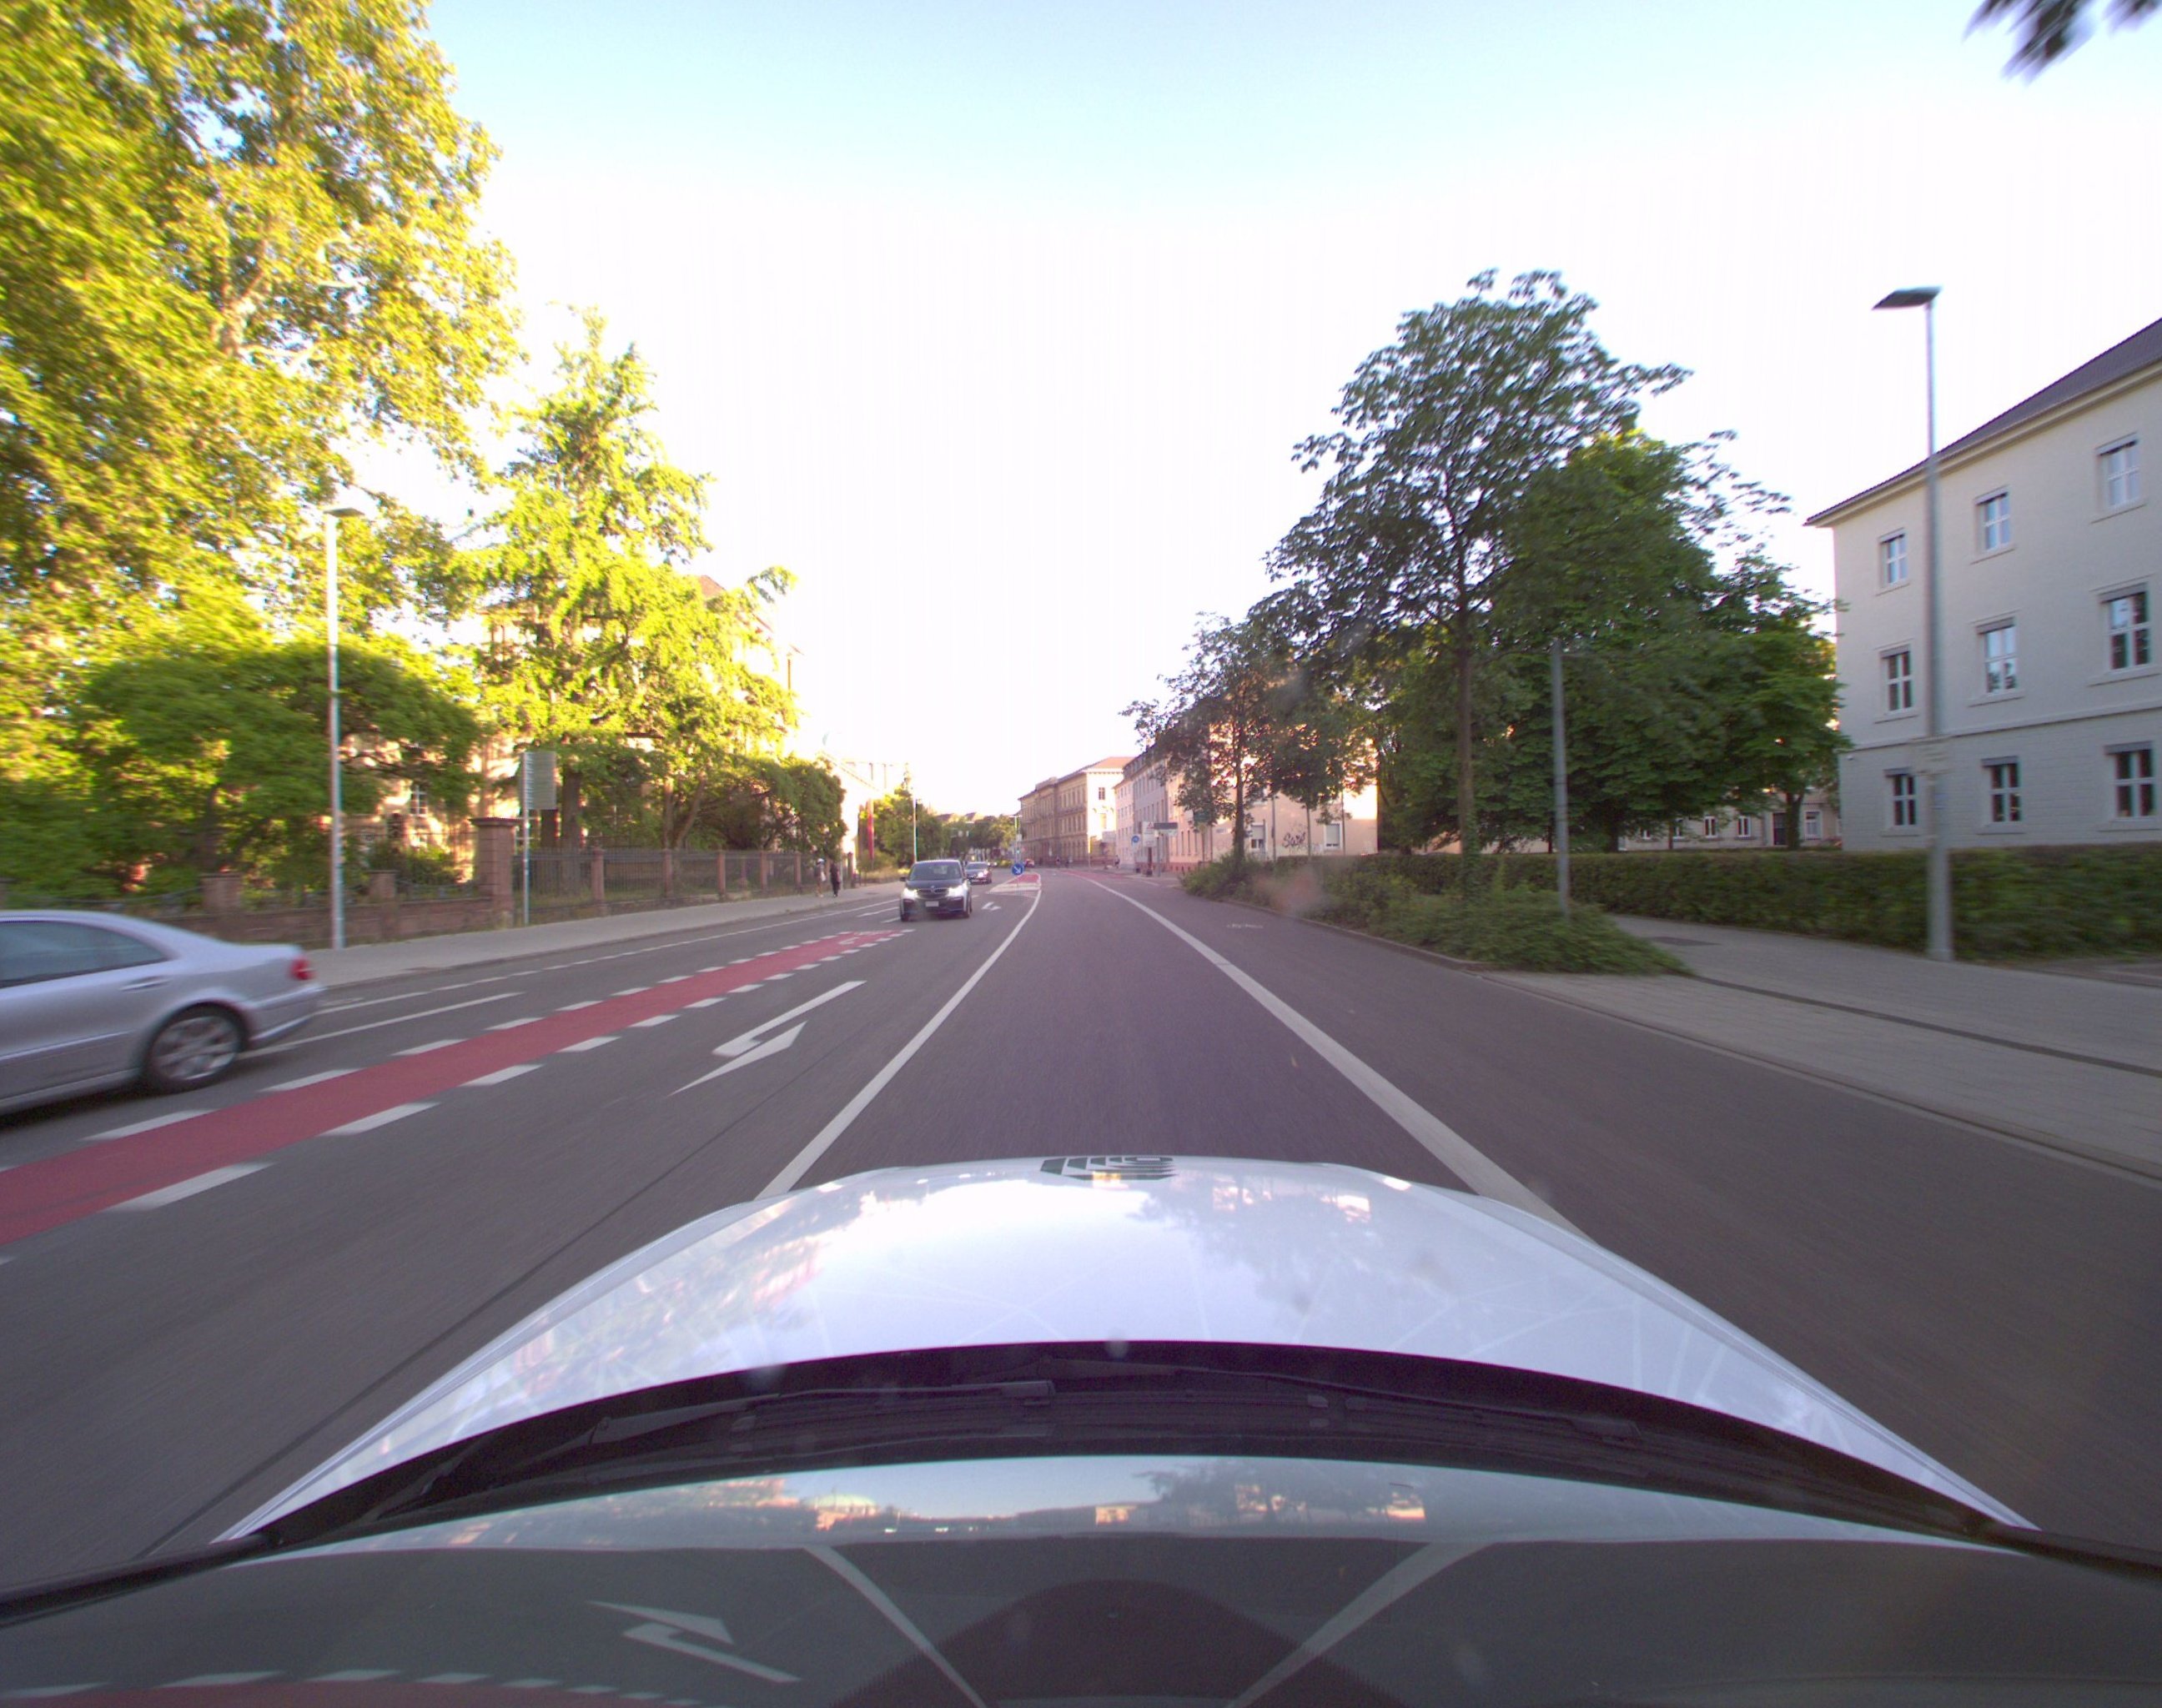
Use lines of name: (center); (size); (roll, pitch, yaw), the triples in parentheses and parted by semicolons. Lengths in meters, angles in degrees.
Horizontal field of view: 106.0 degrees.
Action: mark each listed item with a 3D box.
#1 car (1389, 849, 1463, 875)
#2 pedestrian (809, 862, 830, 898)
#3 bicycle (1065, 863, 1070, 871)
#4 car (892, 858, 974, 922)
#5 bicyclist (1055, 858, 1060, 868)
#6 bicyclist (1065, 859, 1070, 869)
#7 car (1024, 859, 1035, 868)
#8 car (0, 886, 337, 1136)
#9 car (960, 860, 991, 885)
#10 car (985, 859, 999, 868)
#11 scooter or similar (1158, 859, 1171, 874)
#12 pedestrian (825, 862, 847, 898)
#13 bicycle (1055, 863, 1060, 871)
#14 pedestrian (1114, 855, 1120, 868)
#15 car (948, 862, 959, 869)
car: (23.383, 0.554, 55.288); (4.223, 1.481, 1.872); (-3, -1, 3)
pedestrian: (-11.989, 1.167, 37.335); (0.677, 1.622, 0.689); (-1, 0, 6)
bicycle: (-1.923, 1.844, 115.353); (0.650, 1.015, 2.195); (1, 0, -3)
car: (-4.001, 0.923, 22.644); (1.846, 1.526, 3.992); (-3, 0, -6)
bicyclist: (-3.336, 1.248, 115.610); (0.650, 1.446, 0.879); (1, 0, -2)
bicyclist: (-1.907, 1.409, 115.359); (0.650, 1.475, 0.940); (1, 0, -3)
car: (-9.005, 1.662, 143.140); (1.864, 1.510, 3.994); (0, -1, -4)
car: (-7.436, 1.025, 4.593); (1.909, 1.418, 4.772); (-3, 0, 2)
car: (-6.838, 1.164, 53.003); (1.833, 1.439, 3.992); (-3, 0, -6)
car: (-15.882, 1.700, 145.222); (1.997, 1.585, 3.980); (-1, -1, -15)
scooter or similar: (7.890, 1.170, 77.024); (0.629, 1.337, 2.394); (-1, -1, -7)
pedestrian: (-11.206, 1.192, 37.237); (0.676, 1.622, 0.691); (-1, 0, 13)
bicycle: (-3.347, 1.817, 115.494); (0.650, 1.015, 2.196); (1, 0, -2)
pedestrian: (4.794, 1.035, 107.968); (0.758, 1.755, 0.845); (-1, -1, 3)
car: (-28.567, 2.624, 182.450); (1.998, 1.585, 3.978); (-1, -1, -16)
